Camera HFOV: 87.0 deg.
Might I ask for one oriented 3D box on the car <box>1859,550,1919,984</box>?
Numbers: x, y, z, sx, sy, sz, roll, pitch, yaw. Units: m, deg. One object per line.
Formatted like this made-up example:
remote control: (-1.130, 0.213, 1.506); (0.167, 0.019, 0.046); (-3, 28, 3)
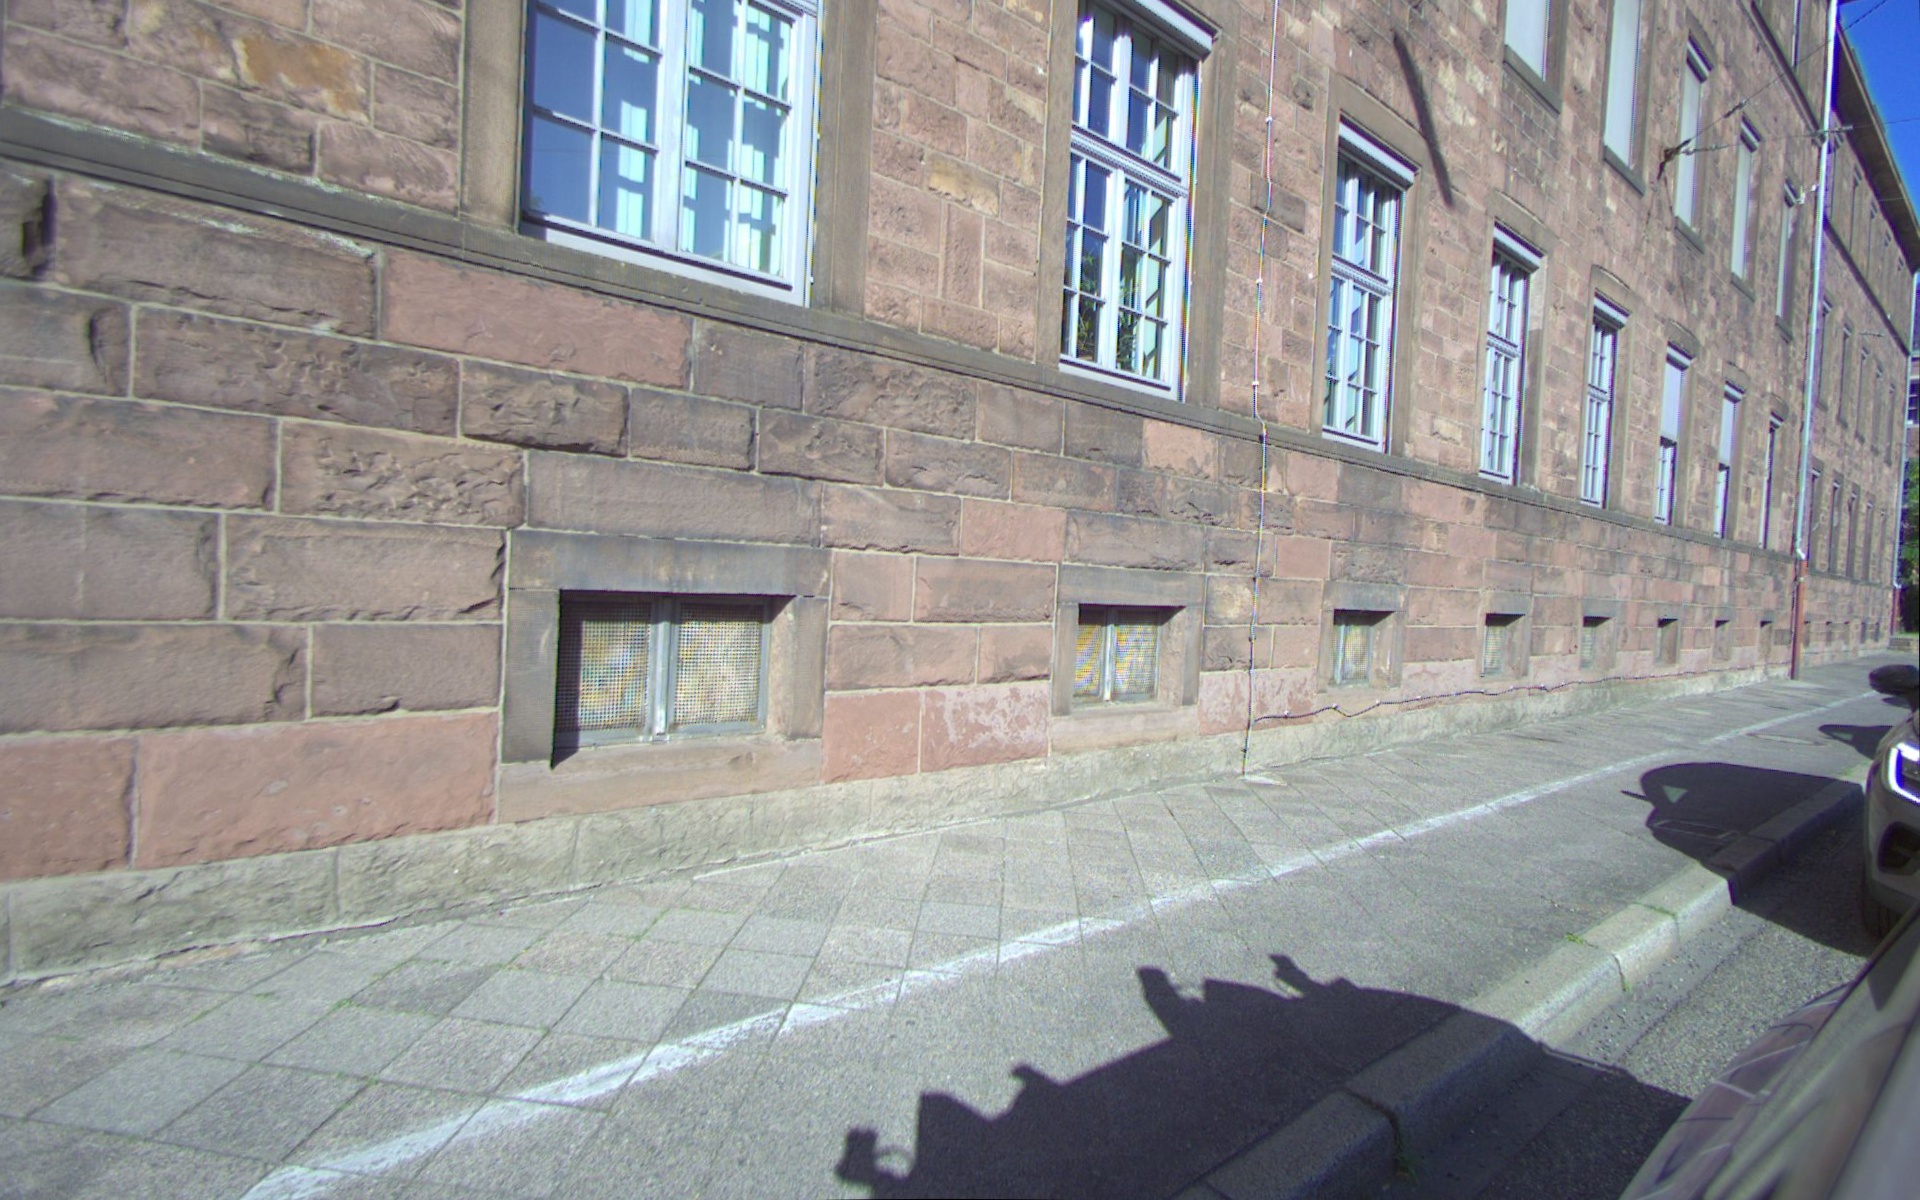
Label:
car: (5.456, 0.664, 4.525); (3.735, 1.624, 1.793); (1, 1, -43)
